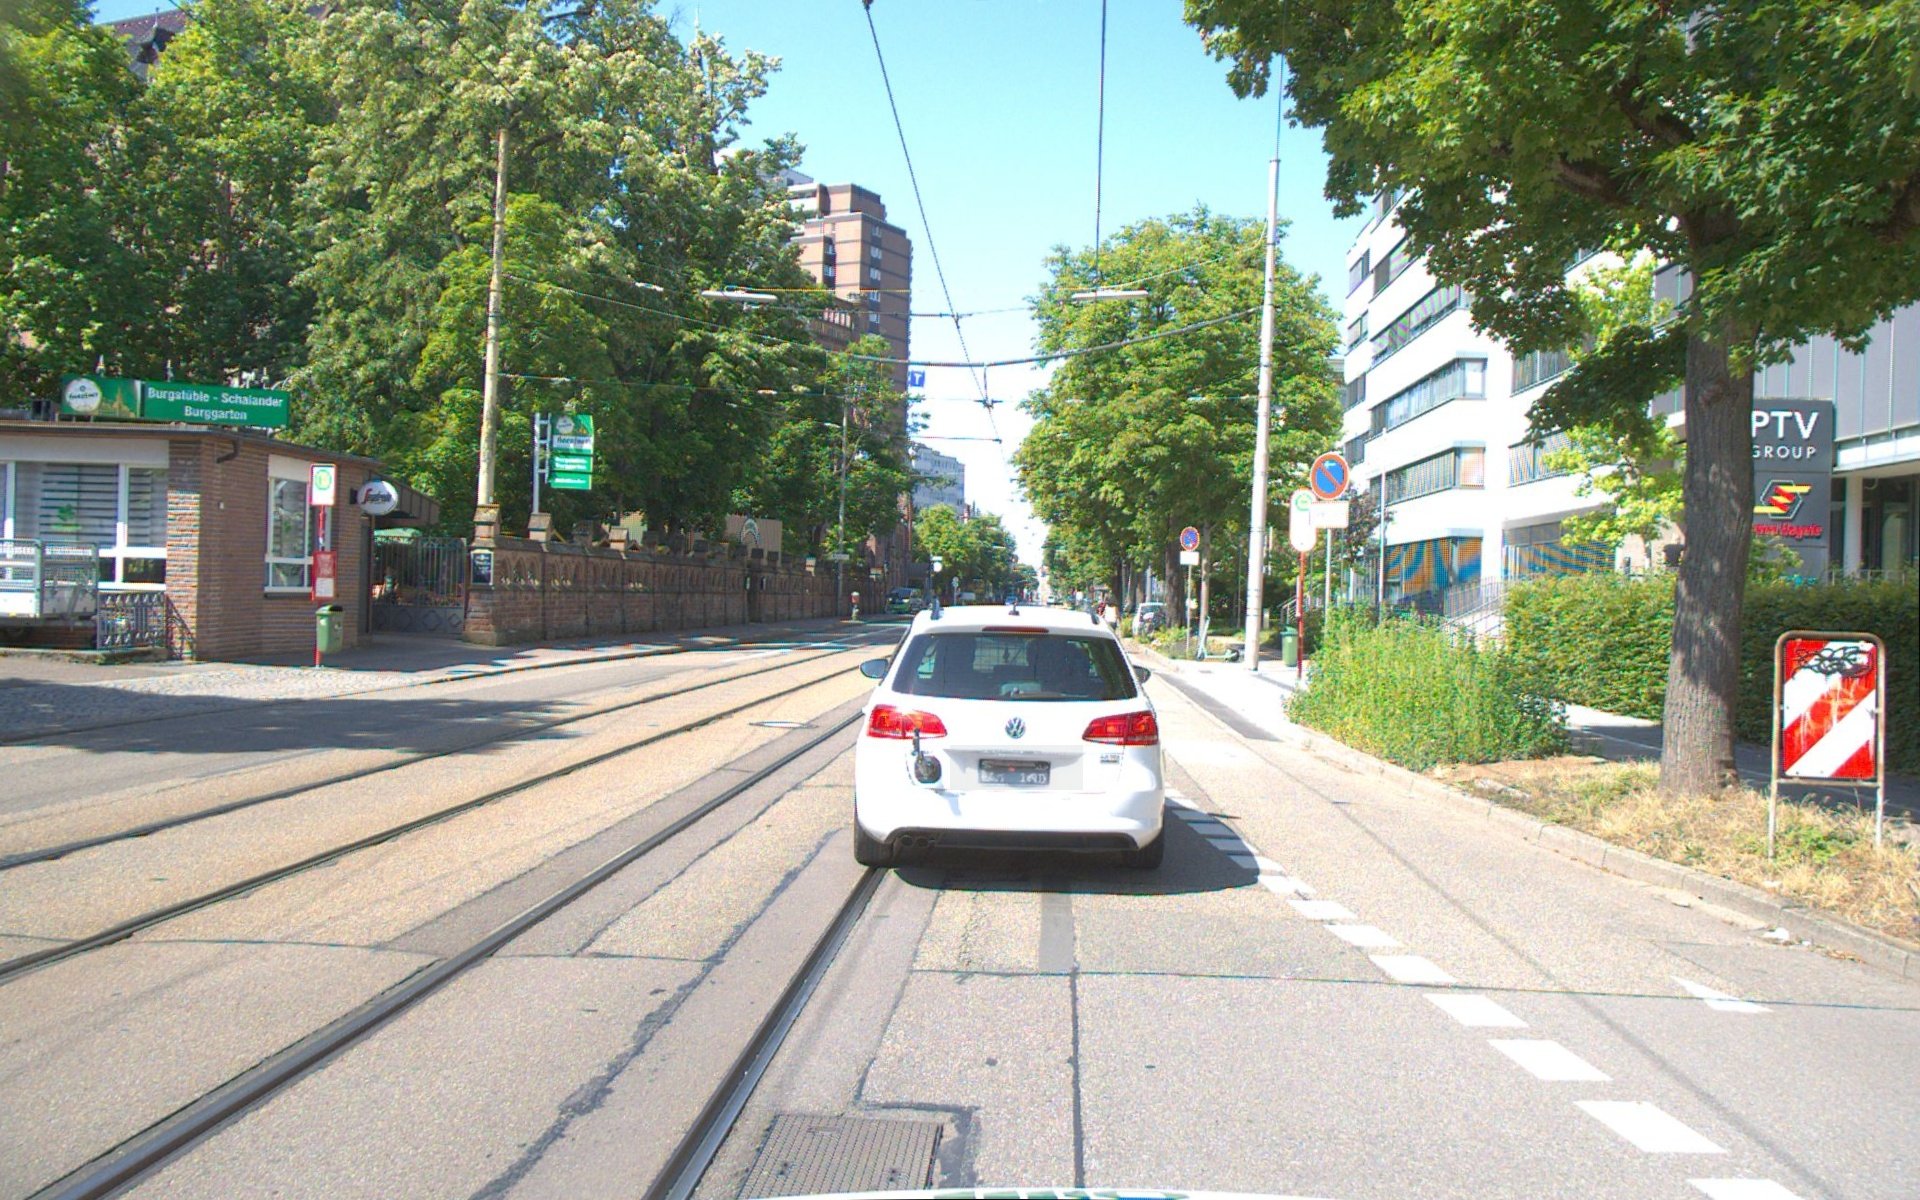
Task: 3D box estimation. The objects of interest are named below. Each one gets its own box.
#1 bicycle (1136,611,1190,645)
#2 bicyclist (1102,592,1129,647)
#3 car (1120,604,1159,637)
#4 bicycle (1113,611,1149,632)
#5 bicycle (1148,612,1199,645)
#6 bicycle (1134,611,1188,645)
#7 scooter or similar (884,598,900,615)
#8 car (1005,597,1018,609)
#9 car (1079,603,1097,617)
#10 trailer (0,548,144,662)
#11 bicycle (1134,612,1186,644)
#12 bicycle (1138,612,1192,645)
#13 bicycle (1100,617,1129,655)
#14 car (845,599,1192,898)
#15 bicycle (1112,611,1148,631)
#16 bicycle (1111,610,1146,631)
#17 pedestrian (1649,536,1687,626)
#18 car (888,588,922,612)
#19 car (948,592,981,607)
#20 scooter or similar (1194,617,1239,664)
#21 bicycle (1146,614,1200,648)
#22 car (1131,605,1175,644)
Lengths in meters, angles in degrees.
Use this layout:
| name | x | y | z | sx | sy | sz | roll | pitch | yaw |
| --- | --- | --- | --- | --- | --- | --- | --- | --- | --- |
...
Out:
| name | x | y | z | sx | sy | sz | roll | pitch | yaw |
| --- | --- | --- | --- | --- | --- | --- | --- | --- | --- |
| bicycle | 7.502 | 1.039 | 61.256 | 1.872 | 1.101 | 0.551 | 4 | 0 | 1 |
| bicyclist | 4.783 | 0.607 | 51.028 | 0.769 | 1.658 | 0.738 | 1 | 0 | 3 |
| car | 8.469 | 0.950 | 78.423 | 1.629 | 1.469 | 4.635 | 1 | 0 | 4 |
| bicycle | 8.751 | 1.093 | 84.734 | 1.751 | 1.028 | 0.488 | 1 | 0 | -2 |
| bicycle | 7.662 | 1.029 | 59.396 | 1.737 | 1.139 | 0.596 | 1 | 0 | 1 |
| bicycle | 7.515 | 1.045 | 61.869 | 1.872 | 1.101 | 0.551 | 4 | 0 | 1 |
| scooter or similar | -4.594 | 0.438 | 111.467 | 0.398 | 1.175 | 1.138 | 1 | 0 | 37 |
| car | 6.338 | 0.361 | 204.160 | 1.462 | 1.409 | 3.644 | 1 | 0 | 4 |
| car | 12.927 | 0.992 | 166.870 | 1.677 | 1.425 | 3.845 | 1 | 0 | 5 |
| trailer | -13.866 | 0.031 | 23.967 | 3.148 | 1.552 | 1.779 | 2 | 0 | 4 |
| bicycle | 7.565 | 1.062 | 62.509 | 1.847 | 1.101 | 0.551 | 4 | 0 | 1 |
| bicycle | 7.508 | 1.046 | 60.655 | 1.872 | 1.101 | 0.551 | 3 | 0 | 1 |
| bicycle | 4.762 | 1.110 | 51.083 | 0.794 | 1.097 | 2.013 | 2 | 0 | 4 |
| car | 0.377 | 0.737 | 10.428 | 1.717 | 1.467 | 4.414 | 0 | 0 | 2 |
| bicycle | 8.765 | 1.079 | 85.311 | 1.751 | 1.028 | 0.488 | 1 | 0 | -2 |
| bicycle | 8.750 | 1.069 | 85.896 | 1.751 | 1.028 | 0.488 | 1 | 0 | -2 |
| pedestrian | 14.065 | -0.384 | 32.877 | 0.488 | 1.758 | 0.547 | 2 | 0 | 3 |
| car | -4.155 | 0.020 | 125.657 | 1.951 | 1.788 | 4.715 | 1 | 0 | 6 |
| car | 0.591 | -0.026 | 219.248 | 3.949 | 1.847 | 1.978 | 1 | 0 | -33 |
| scooter or similar | 6.632 | 1.037 | 42.728 | 1.118 | 1.174 | 0.493 | 2 | 0 | 9 |
| bicycle | 7.172 | 1.040 | 55.668 | 1.737 | 1.102 | 0.596 | 1 | 0 | 1 |
| car | 7.743 | 0.949 | 66.550 | 1.557 | 1.476 | 3.948 | 1 | 0 | 4 |
